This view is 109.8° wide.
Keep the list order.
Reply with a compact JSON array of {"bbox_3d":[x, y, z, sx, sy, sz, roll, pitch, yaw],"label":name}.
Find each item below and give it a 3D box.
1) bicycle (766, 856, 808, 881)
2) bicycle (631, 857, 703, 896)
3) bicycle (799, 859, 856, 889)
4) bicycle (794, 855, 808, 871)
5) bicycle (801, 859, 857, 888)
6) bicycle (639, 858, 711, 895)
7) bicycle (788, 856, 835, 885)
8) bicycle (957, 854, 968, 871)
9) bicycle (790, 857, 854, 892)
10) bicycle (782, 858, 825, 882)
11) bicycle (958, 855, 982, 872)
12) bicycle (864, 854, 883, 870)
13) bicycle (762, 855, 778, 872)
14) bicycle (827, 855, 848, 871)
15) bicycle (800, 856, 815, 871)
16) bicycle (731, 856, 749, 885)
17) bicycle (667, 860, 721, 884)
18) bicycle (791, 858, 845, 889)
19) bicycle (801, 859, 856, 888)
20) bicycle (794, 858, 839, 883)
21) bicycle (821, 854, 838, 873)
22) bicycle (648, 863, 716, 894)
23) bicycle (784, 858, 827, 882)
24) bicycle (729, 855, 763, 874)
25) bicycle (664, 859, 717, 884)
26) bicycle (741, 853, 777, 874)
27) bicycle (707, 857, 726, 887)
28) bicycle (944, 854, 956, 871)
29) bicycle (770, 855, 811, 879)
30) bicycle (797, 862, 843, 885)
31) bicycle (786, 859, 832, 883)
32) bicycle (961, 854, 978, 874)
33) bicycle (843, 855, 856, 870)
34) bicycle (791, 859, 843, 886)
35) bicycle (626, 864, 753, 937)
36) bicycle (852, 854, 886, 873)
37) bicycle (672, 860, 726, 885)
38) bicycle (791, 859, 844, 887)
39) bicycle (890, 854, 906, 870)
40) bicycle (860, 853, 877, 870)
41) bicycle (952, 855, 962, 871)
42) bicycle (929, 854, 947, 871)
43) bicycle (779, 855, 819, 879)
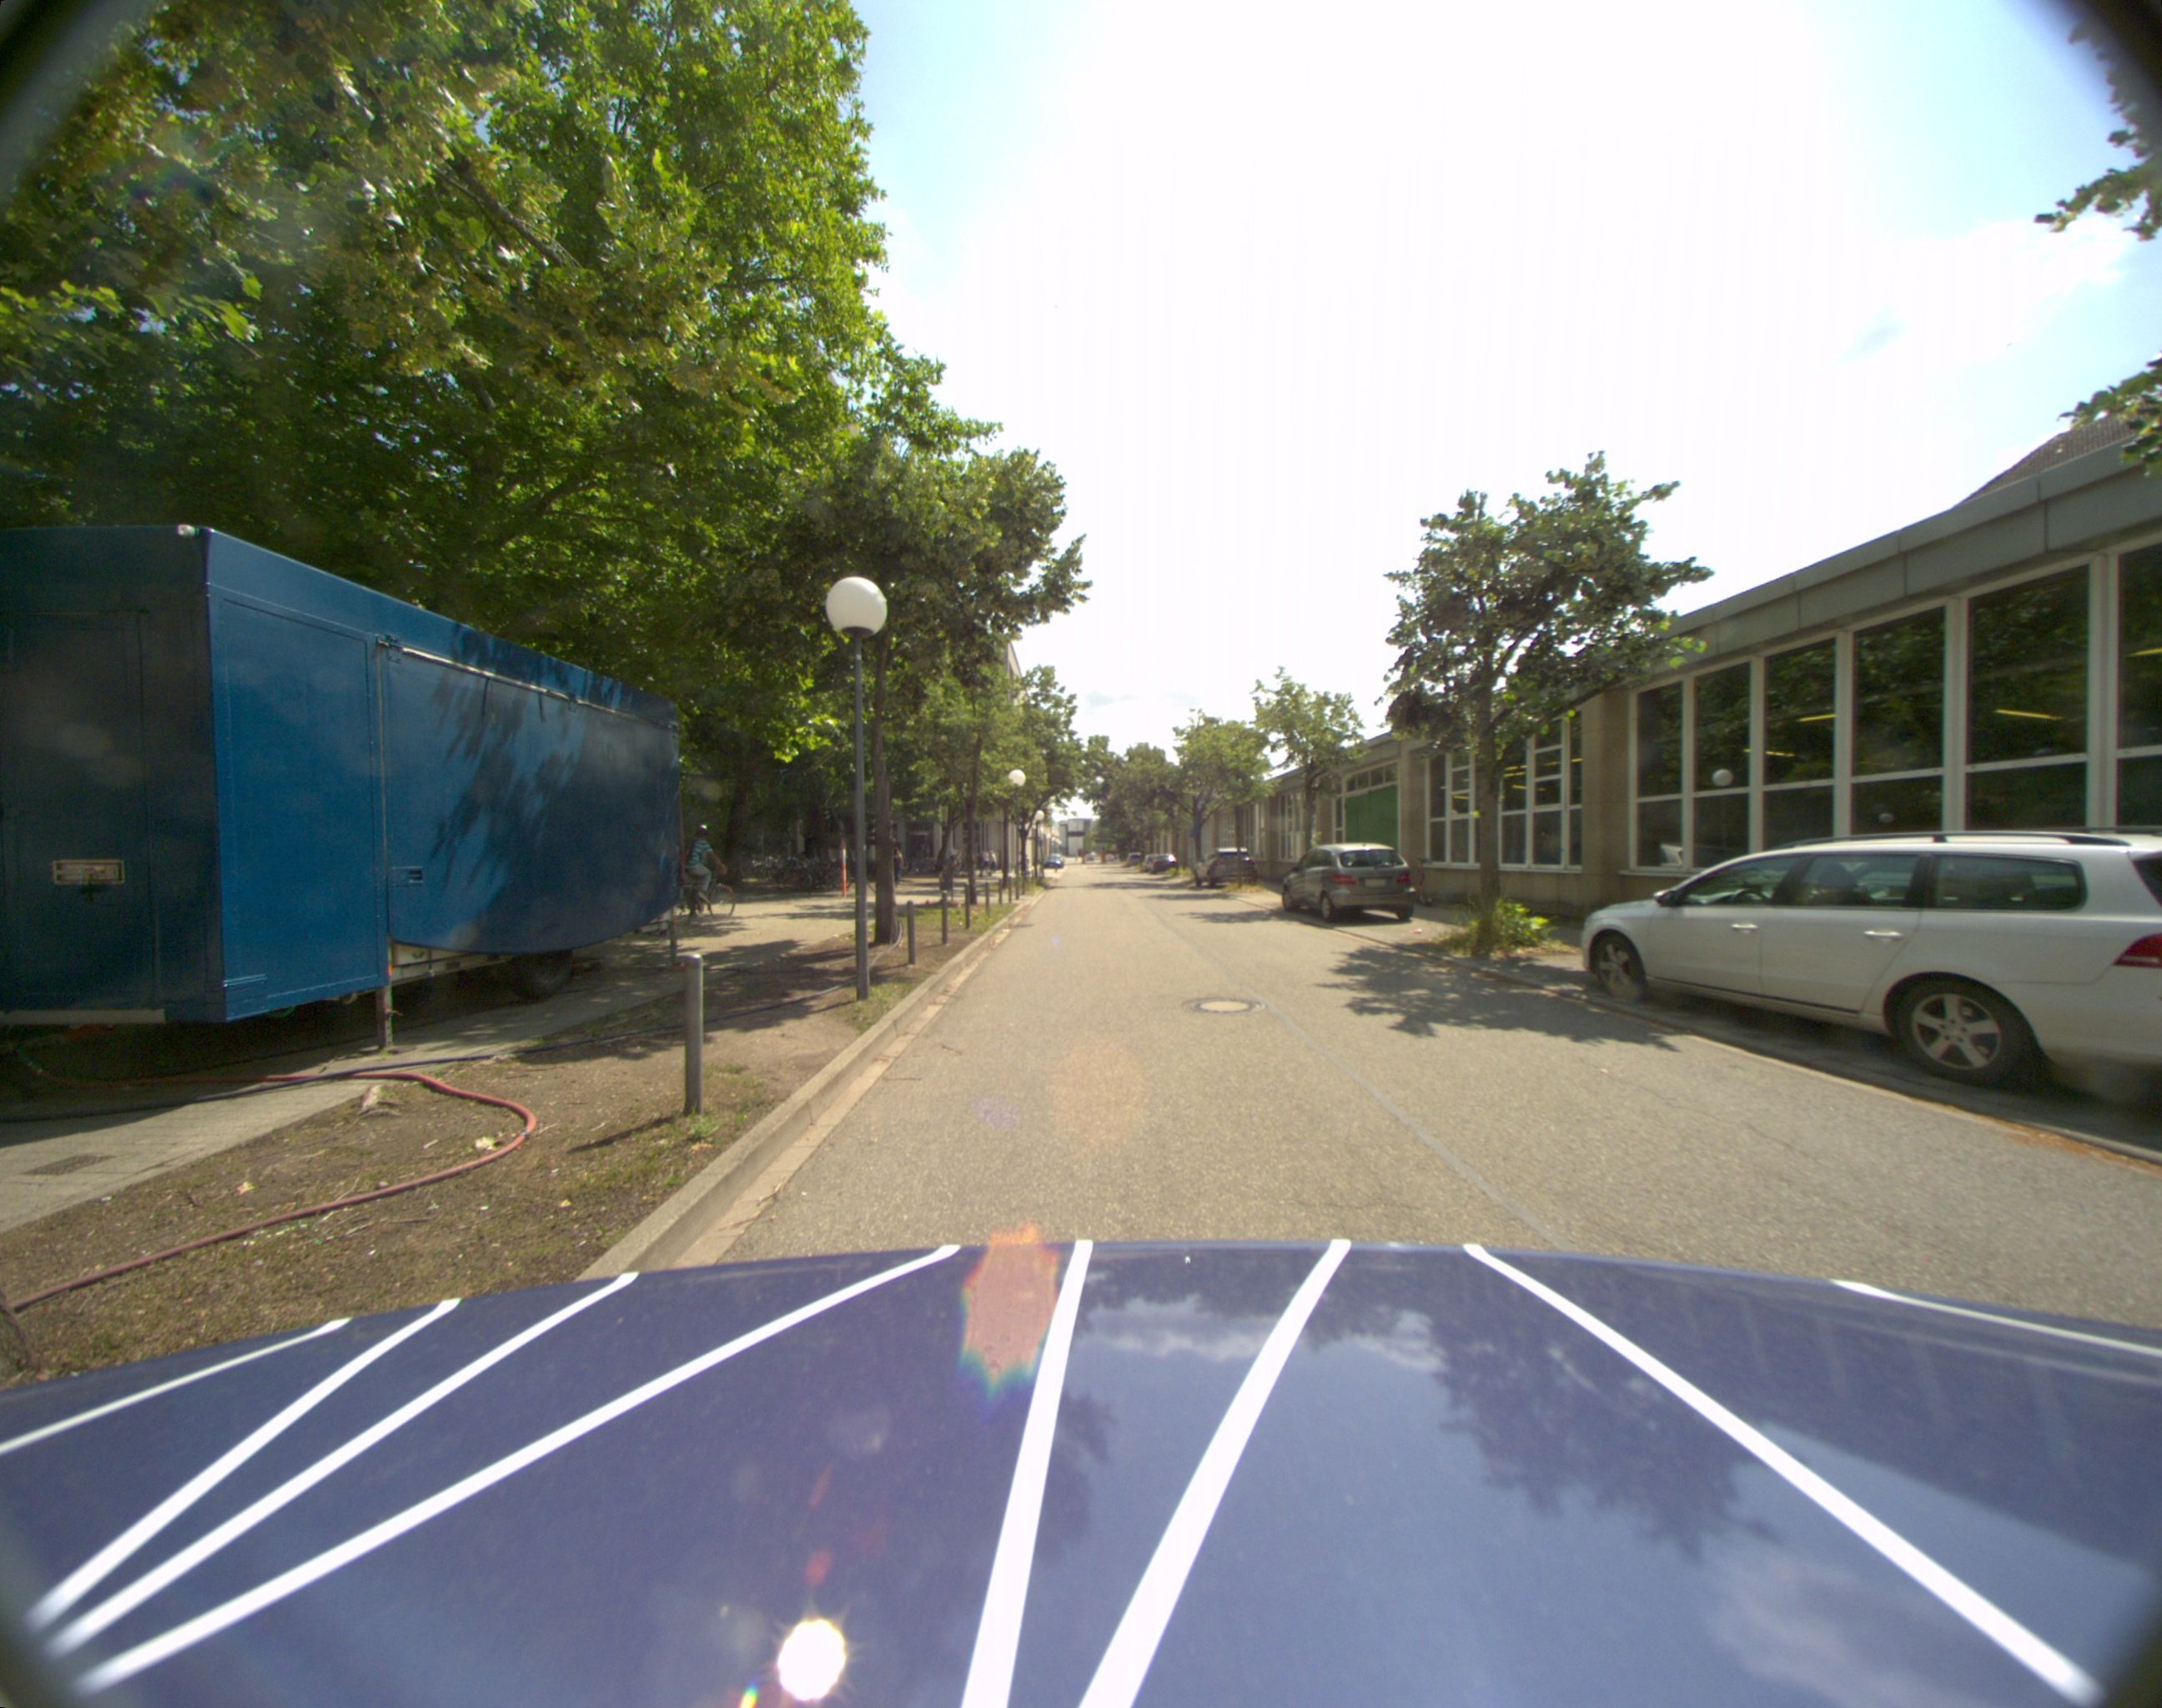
[{"bbox_3d":[-14.124,0.680,36.528,1.796,1.163,0.401,0,0,-34],"label":"bicycle"},{"bbox_3d":[-12.278,0.661,22.589,1.811,1.112,0.611,1,1,-22],"label":"bicycle"},{"bbox_3d":[-9.283,0.713,27.867,1.950,1.076,0.404,0,0,-11],"label":"bicycle"},{"bbox_3d":[-19.625,0.640,53.333,0.454,1.123,1.688,-3,-1,-5],"label":"bicycle"},{"bbox_3d":[-9.379,0.713,28.287,1.950,1.076,0.404,0,0,-11],"label":"bicycle"},{"bbox_3d":[-12.630,0.708,23.696,1.906,1.112,0.611,1,1,-22],"label":"bicycle"},{"bbox_3d":[-11.069,0.660,31.239,1.742,1.148,0.493,0,0,-36],"label":"bicycle"},{"bbox_3d":[-8.262,0.587,53.016,0.561,1.135,1.489,1,1,-2],"label":"bicycle"},{"bbox_3d":[-8.936,0.701,26.321,2.021,1.160,0.651,0,0,-11],"label":"bicycle"},{"bbox_3d":[-12.681,0.728,34.764,1.796,1.063,0.425,0,0,-30],"label":"bicycle"},{"bbox_3d":[-7.621,0.677,52.266,0.604,1.135,1.790,2,1,33],"label":"bicycle"},{"bbox_3d":[-13.798,0.532,50.525,0.463,1.071,1.829,1,-1,8],"label":"bicycle"},{"bbox_3d":[-21.705,0.646,53.017,0.454,1.123,1.688,-3,-1,-5],"label":"bicycle"},{"bbox_3d":[-16.990,0.623,53.021,0.617,1.041,1.697,-3,-1,8],"label":"bicycle"},{"bbox_3d":[-19.025,0.656,52.890,0.501,1.041,1.688,-3,-1,-5],"label":"bicycle"},{"bbox_3d":[-13.161,0.622,29.366,0.479,1.076,1.900,0,1,-20],"label":"bicycle"},{"bbox_3d":[-15.834,0.720,31.100,0.477,0.973,1.908,2,1,42],"label":"bicycle"},{"bbox_3d":[-9.479,0.702,27.443,1.773,1.076,0.438,0,0,-11],"label":"bicycle"},{"bbox_3d":[-9.612,0.738,28.959,1.950,1.076,0.404,0,0,-11],"label":"bicycle"},{"bbox_3d":[-11.150,0.684,32.036,1.742,1.046,0.493,0,0,-36],"label":"bicycle"},{"bbox_3d":[-15.287,0.581,46.114,0.476,1.103,1.665,-1,2,-36],"label":"bicycle"},{"bbox_3d":[-13.007,0.778,24.807,1.906,0.973,0.611,1,1,-22],"label":"bicycle"},{"bbox_3d":[-12.464,0.734,34.381,1.796,1.063,0.425,0,0,-30],"label":"bicycle"},{"bbox_3d":[-20.353,0.619,46.157,1.849,1.163,0.435,0,0,-35],"label":"bicycle"},{"bbox_3d":[-16.220,0.714,31.575,1.908,0.973,0.477,0,1,-40],"label":"bicycle"},{"bbox_3d":[-18.465,0.537,43.614,1.849,1.163,0.412,0,0,-39],"label":"bicycle"},{"bbox_3d":[-13.867,0.662,28.961,0.479,1.076,1.900,0,1,-20],"label":"bicycle"},{"bbox_3d":[-9.189,0.607,53.271,0.561,1.134,1.489,1,-1,-2],"label":"bicycle"},{"bbox_3d":[-14.368,0.633,37.635,1.848,1.163,0.401,0,0,-34],"label":"bicycle"},{"bbox_3d":[-10.619,0.768,30.922,1.741,0.904,0.493,0,0,-29],"label":"bicycle"},{"bbox_3d":[-11.557,0.716,32.339,1.800,1.022,0.439,0,0,-32],"label":"bicycle"},{"bbox_3d":[-6.873,0.610,46.748,0.629,1.078,1.684,-3,4,-23],"label":"bicycle"},{"bbox_3d":[-16.179,0.589,53.057,0.568,1.041,1.695,-3,-1,-7],"label":"bicycle"},{"bbox_3d":[-10.443,0.731,30.111,1.916,1.053,0.325,0,0,-23],"label":"bicycle"},{"bbox_3d":[-6.950,0.777,13.651,0.651,1.117,2.299,3,1,14],"label":"bicycle"},{"bbox_3d":[-13.103,0.575,46.900,1.928,1.103,0.631,-1,2,-36],"label":"bicycle"},{"bbox_3d":[-15.411,0.729,30.711,0.477,0.973,1.908,2,1,42],"label":"bicycle"},{"bbox_3d":[-10.335,0.733,29.820,1.916,1.053,0.325,0,0,-23],"label":"bicycle"},{"bbox_3d":[-12.782,0.555,53.084,0.481,1.118,1.697,1,-1,6],"label":"bicycle"},{"bbox_3d":[-14.835,0.539,53.178,0.627,1.143,1.697,1,-1,2],"label":"bicycle"},{"bbox_3d":[-9.991,0.740,61.113,0.531,1.235,1.829,0,1,-1],"label":"bicycle"},{"bbox_3d":[-9.936,0.583,52.951,0.491,1.134,1.529,1,-1,20],"label":"bicycle"},{"bbox_3d":[-13.814,0.618,37.221,1.796,1.163,0.401,0,0,-34],"label":"bicycle"}]
